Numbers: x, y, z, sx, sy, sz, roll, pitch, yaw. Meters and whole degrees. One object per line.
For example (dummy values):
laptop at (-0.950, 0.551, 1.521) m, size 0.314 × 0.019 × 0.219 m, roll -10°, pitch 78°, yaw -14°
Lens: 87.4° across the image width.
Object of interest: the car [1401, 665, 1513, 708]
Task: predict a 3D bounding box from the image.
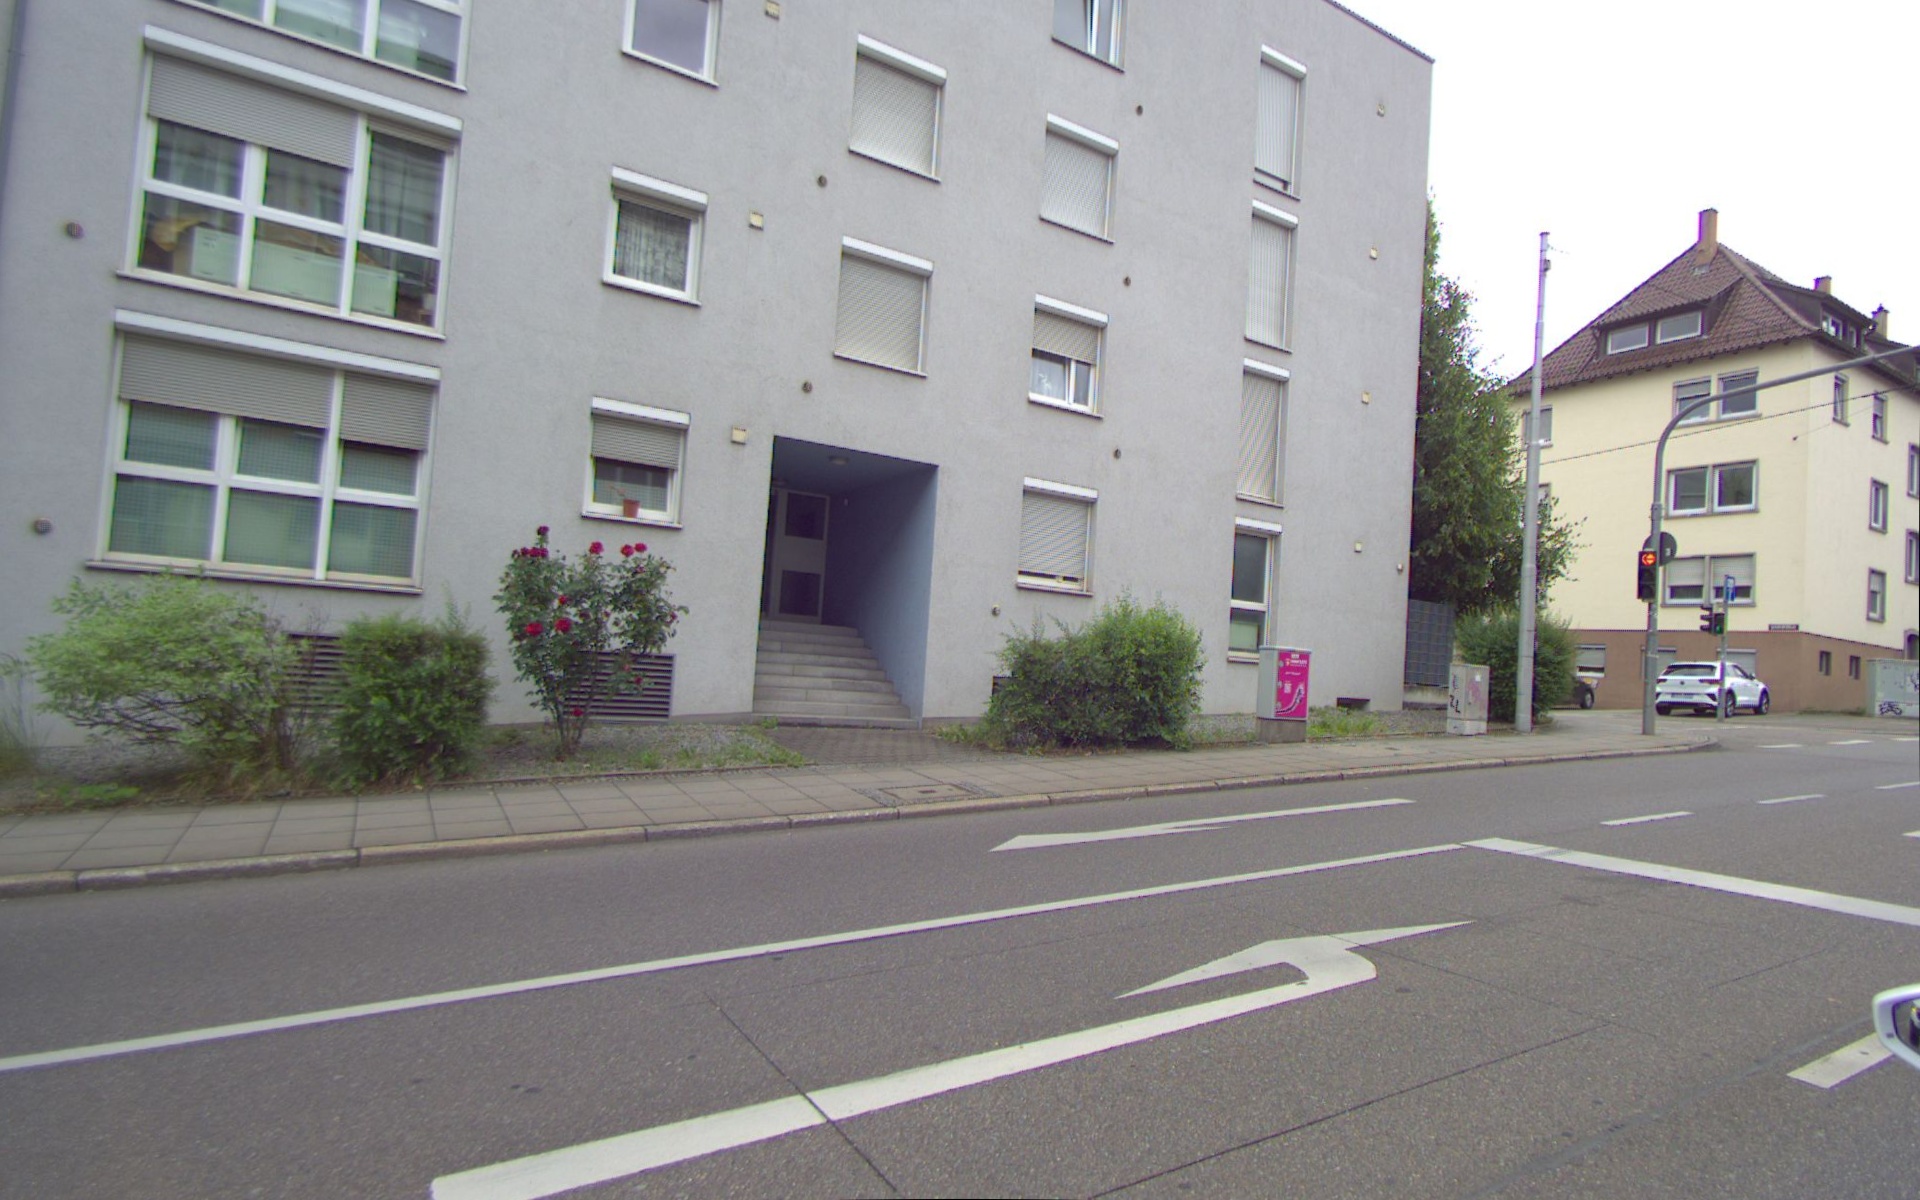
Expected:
car at (17.657, 3.043, 35.675) m, size 3.954 × 1.380 × 1.662 m, roll 3°, pitch -1°, yaw -30°

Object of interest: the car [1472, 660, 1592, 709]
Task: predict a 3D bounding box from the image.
car at (19.072, 2.802, 33.476) m, size 4.054 × 1.566 × 1.662 m, roll 3°, pitch -5°, yaw -30°

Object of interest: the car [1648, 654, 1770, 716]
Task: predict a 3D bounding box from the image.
car at (21.917, 2.445, 29.352) m, size 3.960 × 1.683 × 1.660 m, roll 3°, pitch -4°, yaw -35°
